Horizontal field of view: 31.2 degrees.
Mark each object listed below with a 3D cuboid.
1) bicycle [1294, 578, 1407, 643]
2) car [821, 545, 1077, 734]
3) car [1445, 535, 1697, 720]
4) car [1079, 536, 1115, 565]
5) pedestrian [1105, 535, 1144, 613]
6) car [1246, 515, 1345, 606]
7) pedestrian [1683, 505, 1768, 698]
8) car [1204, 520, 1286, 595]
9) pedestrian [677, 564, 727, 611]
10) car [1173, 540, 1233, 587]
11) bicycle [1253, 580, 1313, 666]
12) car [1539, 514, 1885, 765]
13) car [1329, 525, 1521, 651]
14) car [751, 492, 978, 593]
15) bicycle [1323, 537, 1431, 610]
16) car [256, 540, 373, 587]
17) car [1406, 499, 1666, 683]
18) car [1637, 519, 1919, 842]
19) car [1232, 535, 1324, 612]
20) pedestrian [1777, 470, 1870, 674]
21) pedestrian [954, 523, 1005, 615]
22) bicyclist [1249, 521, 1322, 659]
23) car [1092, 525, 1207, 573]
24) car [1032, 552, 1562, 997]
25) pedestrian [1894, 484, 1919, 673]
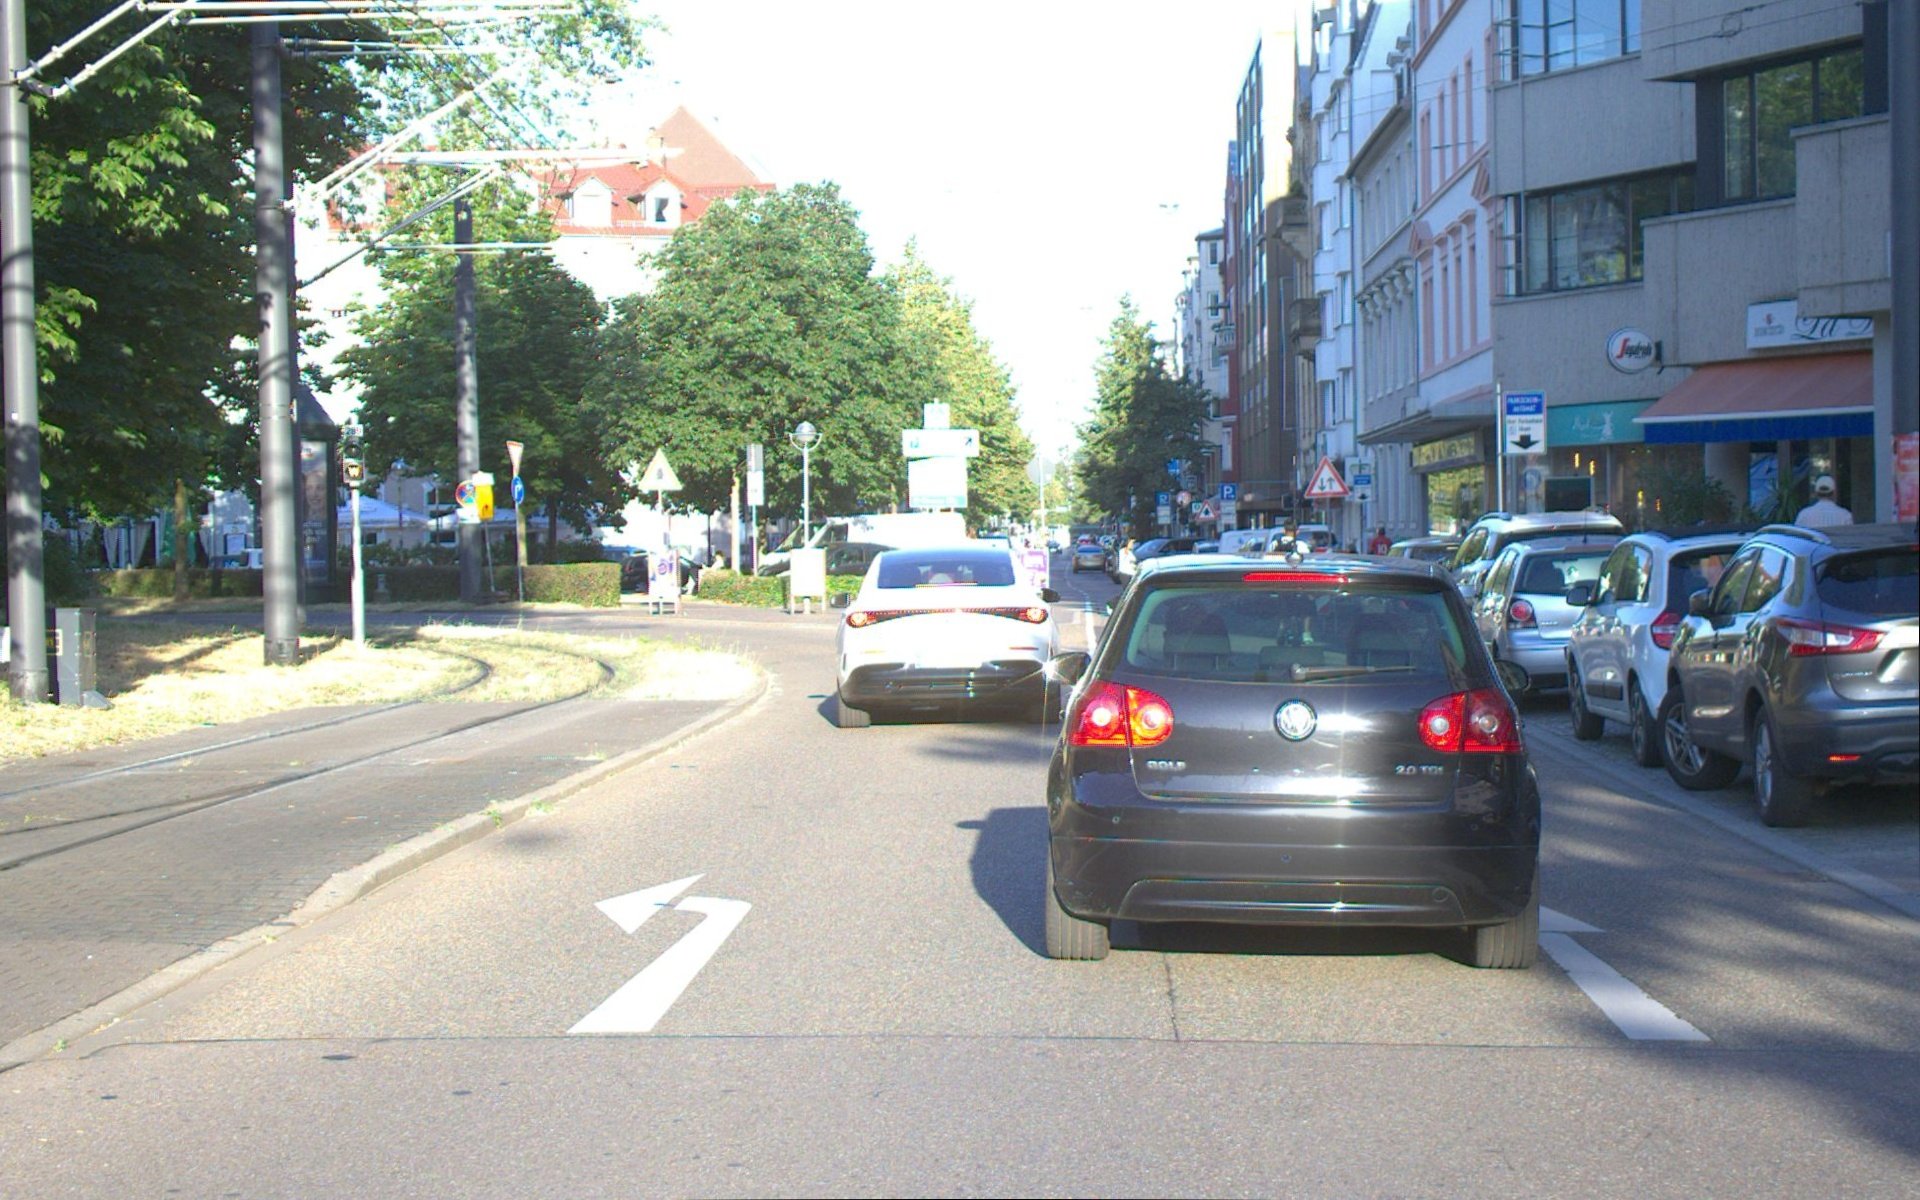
[{"bbox_3d":[6.825,0.186,60.167,1.850,1.042,0.580,-2,2,32],"label":"bicycle"},{"bbox_3d":[-0.014,0.278,29.010,1.865,1.436,4.197,0,1,4],"label":"car"},{"bbox_3d":[5.319,0.193,30.343,1.662,1.436,3.854,-3,1,3],"label":"car"},{"bbox_3d":[7.563,-2.720,189.885,1.906,1.546,4.000,-1,1,1],"label":"car"},{"bbox_3d":[3.303,-0.524,69.056,0.736,1.549,0.632,0,1,-2],"label":"pedestrian"},{"bbox_3d":[7.006,-0.834,72.042,1.734,1.794,3.916,-2,1,2],"label":"car"},{"bbox_3d":[7.149,0.009,32.115,0.578,1.754,0.662,-3,1,3],"label":"pedestrian"},{"bbox_3d":[7.414,-1.108,89.726,1.925,1.835,4.017,-2,1,3],"label":"car"},{"bbox_3d":[-6.792,-0.320,90.544,1.097,1.222,0.860,0,1,-24],"label":"pedestrian"},{"bbox_3d":[8.176,-1.236,116.039,1.752,1.505,3.545,-2,1,1],"label":"car"},{"bbox_3d":[3.838,0.261,40.911,0.579,0.984,1.935,0,1,1],"label":"bicycle"},{"bbox_3d":[5.209,0.227,24.220,1.607,1.551,3.610,-3,1,1],"label":"car"},{"bbox_3d":[5.846,-0.179,43.608,1.662,1.436,3.824,-3,1,-3],"label":"car"},{"bbox_3d":[-2.496,-1.516,89.962,5.510,2.586,2.155,-1,1,-24],"label":"car"},{"bbox_3d":[6.782,-0.430,55.954,1.605,1.115,0.611,-2,2,35],"label":"bicycle"},{"bbox_3d":[-21.701,-1.246,115.611,3.612,1.546,1.663,-1,1,-21],"label":"car"},{"bbox_3d":[5.952,-0.130,36.008,1.867,1.708,4.505,-3,1,0],"label":"car"},{"bbox_3d":[5.105,0.359,19.480,1.782,1.551,4.234,-3,1,2],"label":"car"},{"bbox_3d":[7.105,-0.605,77.076,1.734,1.611,3.916,-2,1,2],"label":"car"},{"bbox_3d":[8.028,-0.262,31.981,0.622,1.851,0.662,-3,1,3],"label":"pedestrian"},{"bbox_3d":[0.359,-0.586,64.166,0.859,1.700,0.941,0,1,-4],"label":"pedestrian"},{"bbox_3d":[3.862,-0.128,40.877,0.777,1.613,1.025,0,1,2],"label":"bicyclist"},{"bbox_3d":[7.214,-1.961,130.924,3.986,1.766,2.001,-1,1,-11],"label":"car"},{"bbox_3d":[1.190,0.551,13.440,1.748,1.456,4.103,0,1,2],"label":"car"},{"bbox_3d":[9.104,-0.222,31.901,0.622,1.734,0.662,-3,1,3],"label":"pedestrian"}]
